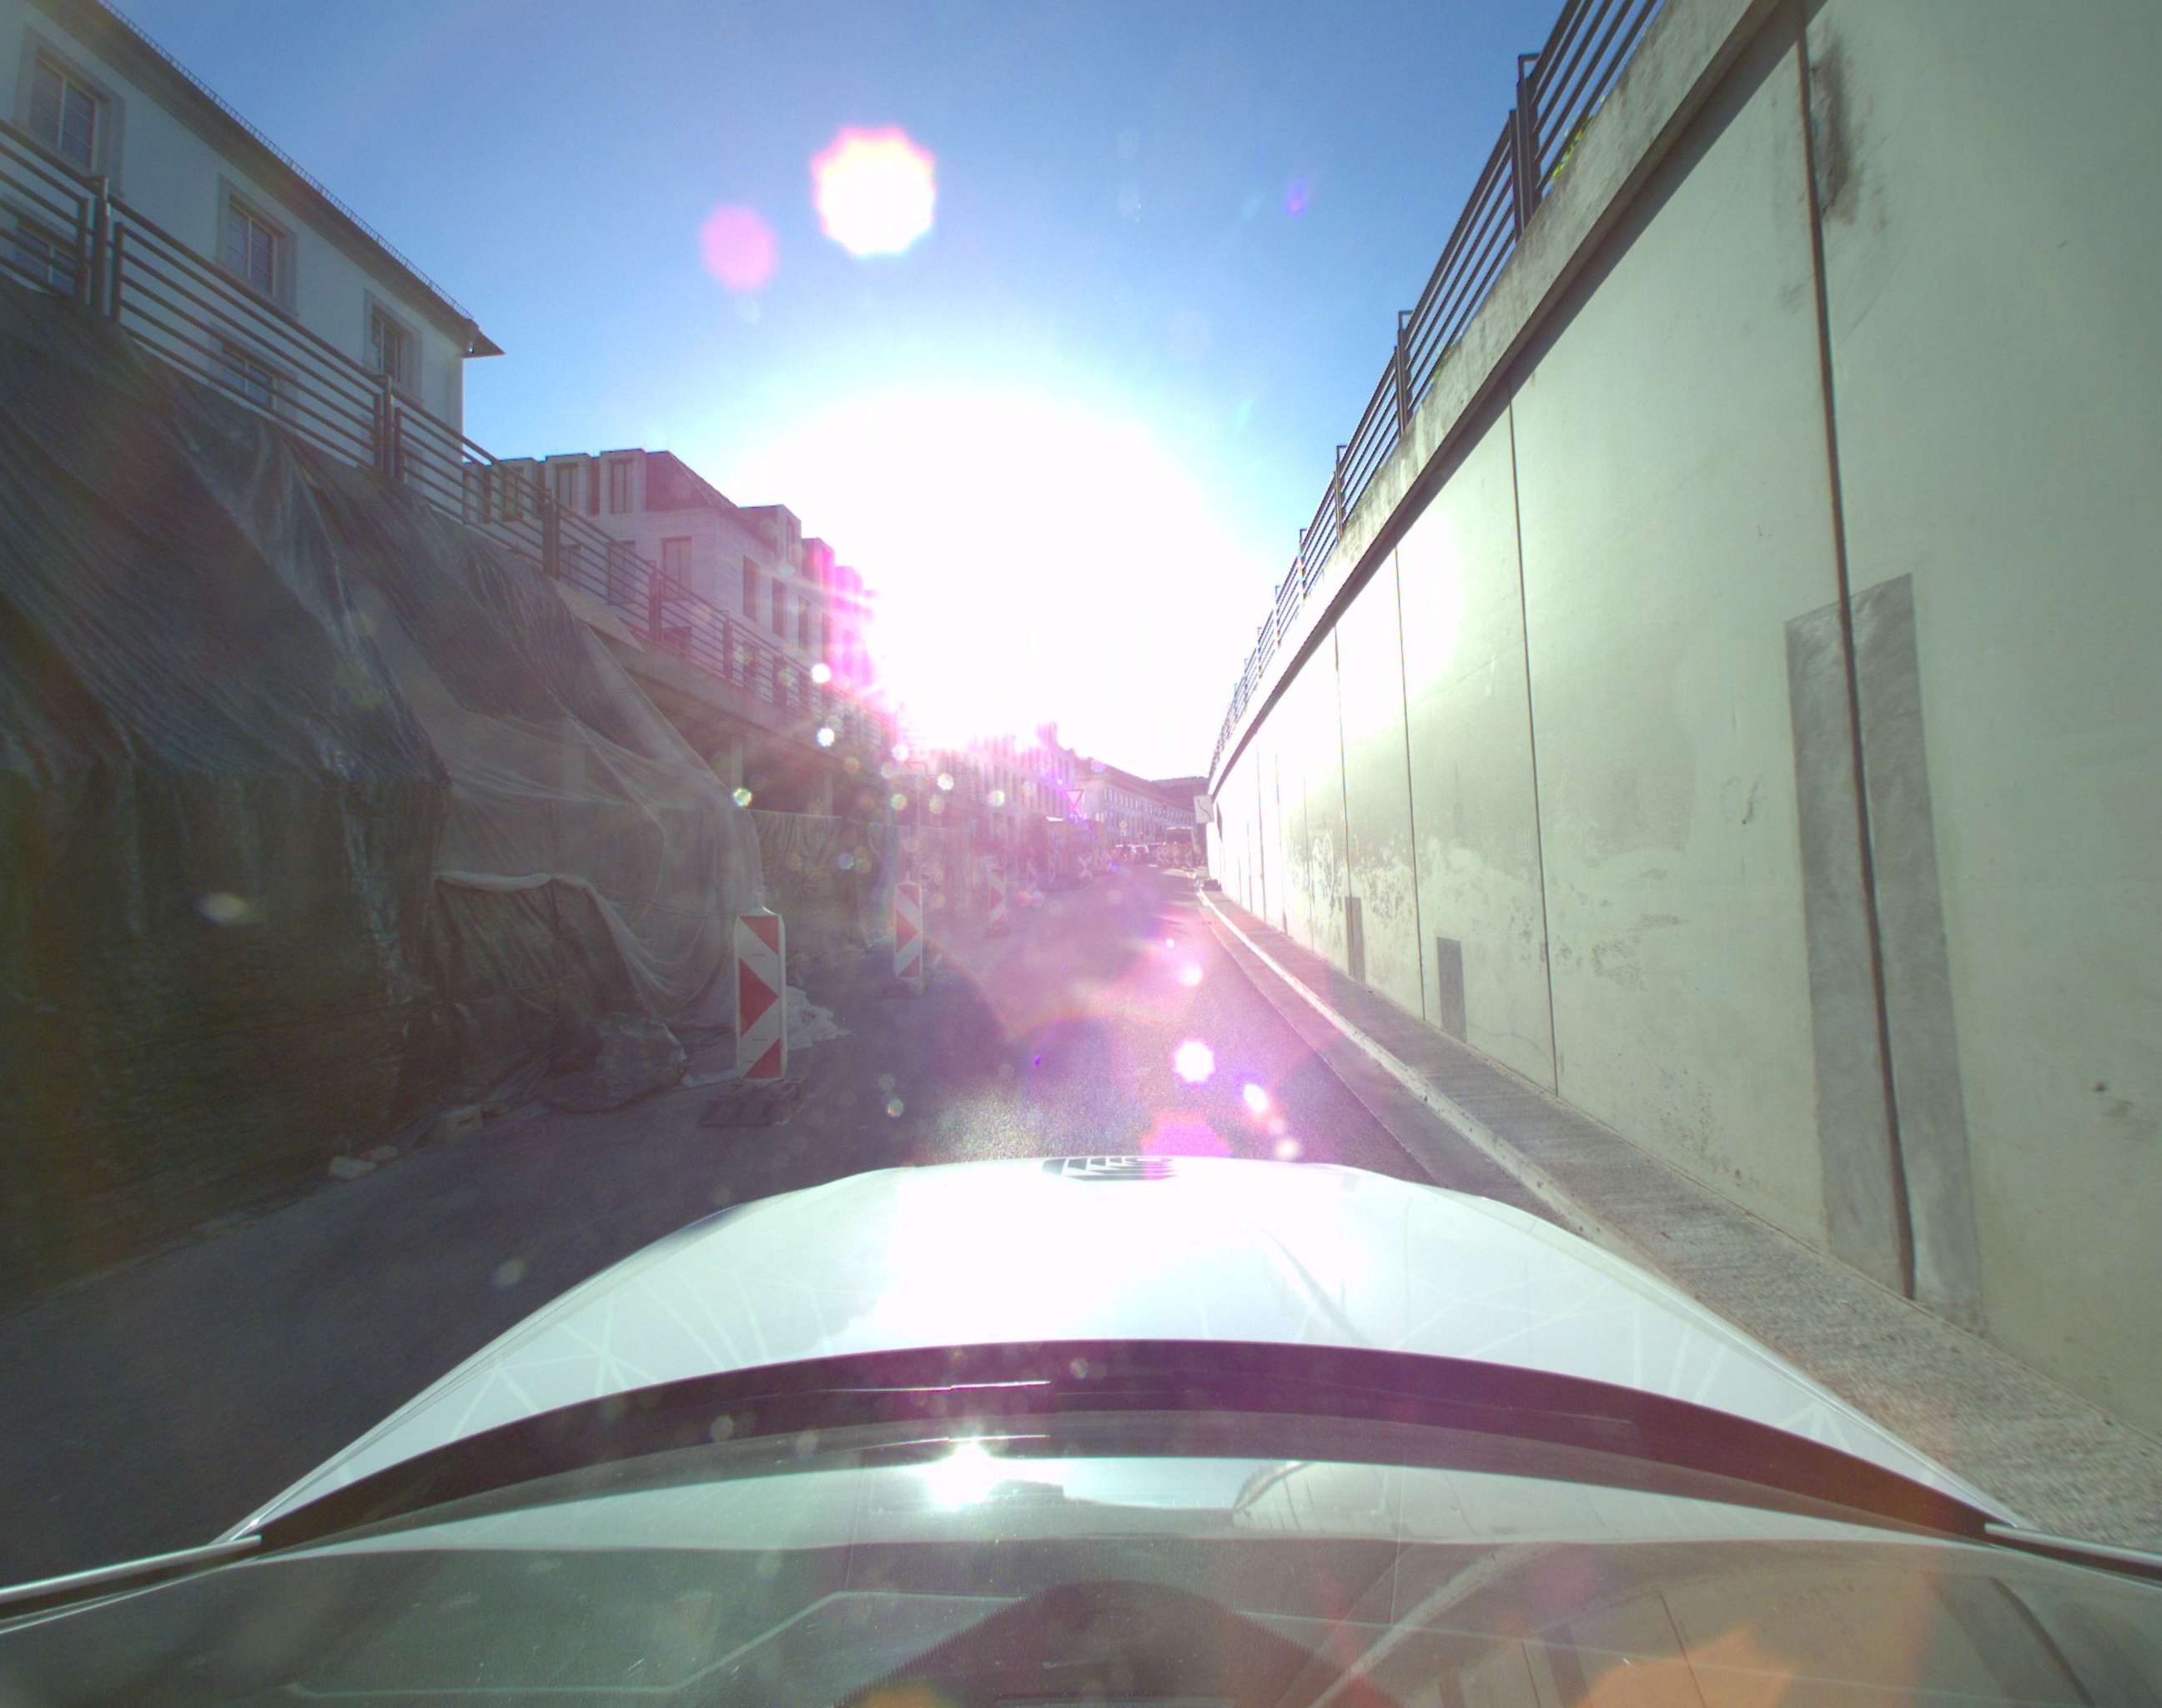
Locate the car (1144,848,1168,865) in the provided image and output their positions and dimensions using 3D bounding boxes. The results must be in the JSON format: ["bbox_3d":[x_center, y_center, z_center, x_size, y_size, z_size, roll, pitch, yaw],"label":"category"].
[{"bbox_3d":[6.900,0.234,74.716,1.846,1.534,4.010,-1,-1,9],"label":"car"}]

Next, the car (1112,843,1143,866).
[{"bbox_3d":[3.442,0.071,59.563,1.764,1.604,4.012,-1,-1,11],"label":"car"}]

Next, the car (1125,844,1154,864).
[{"bbox_3d":[4.769,0.021,65.954,1.808,1.534,4.013,-1,-1,12],"label":"car"}]

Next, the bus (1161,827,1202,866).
[{"bbox_3d":[6.986,-0.519,56.335,2.209,2.557,4.444,-1,0,14],"label":"bus"}]

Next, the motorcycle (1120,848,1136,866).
[{"bbox_3d":[3.031,0.201,52.597,0.766,0.993,2.189,-1,-3,9],"label":"motorcycle"}]

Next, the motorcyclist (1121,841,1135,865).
[{"bbox_3d":[3.020,-0.058,52.574,0.799,1.504,0.778,-1,-4,9],"label":"motorcyclist"}]
